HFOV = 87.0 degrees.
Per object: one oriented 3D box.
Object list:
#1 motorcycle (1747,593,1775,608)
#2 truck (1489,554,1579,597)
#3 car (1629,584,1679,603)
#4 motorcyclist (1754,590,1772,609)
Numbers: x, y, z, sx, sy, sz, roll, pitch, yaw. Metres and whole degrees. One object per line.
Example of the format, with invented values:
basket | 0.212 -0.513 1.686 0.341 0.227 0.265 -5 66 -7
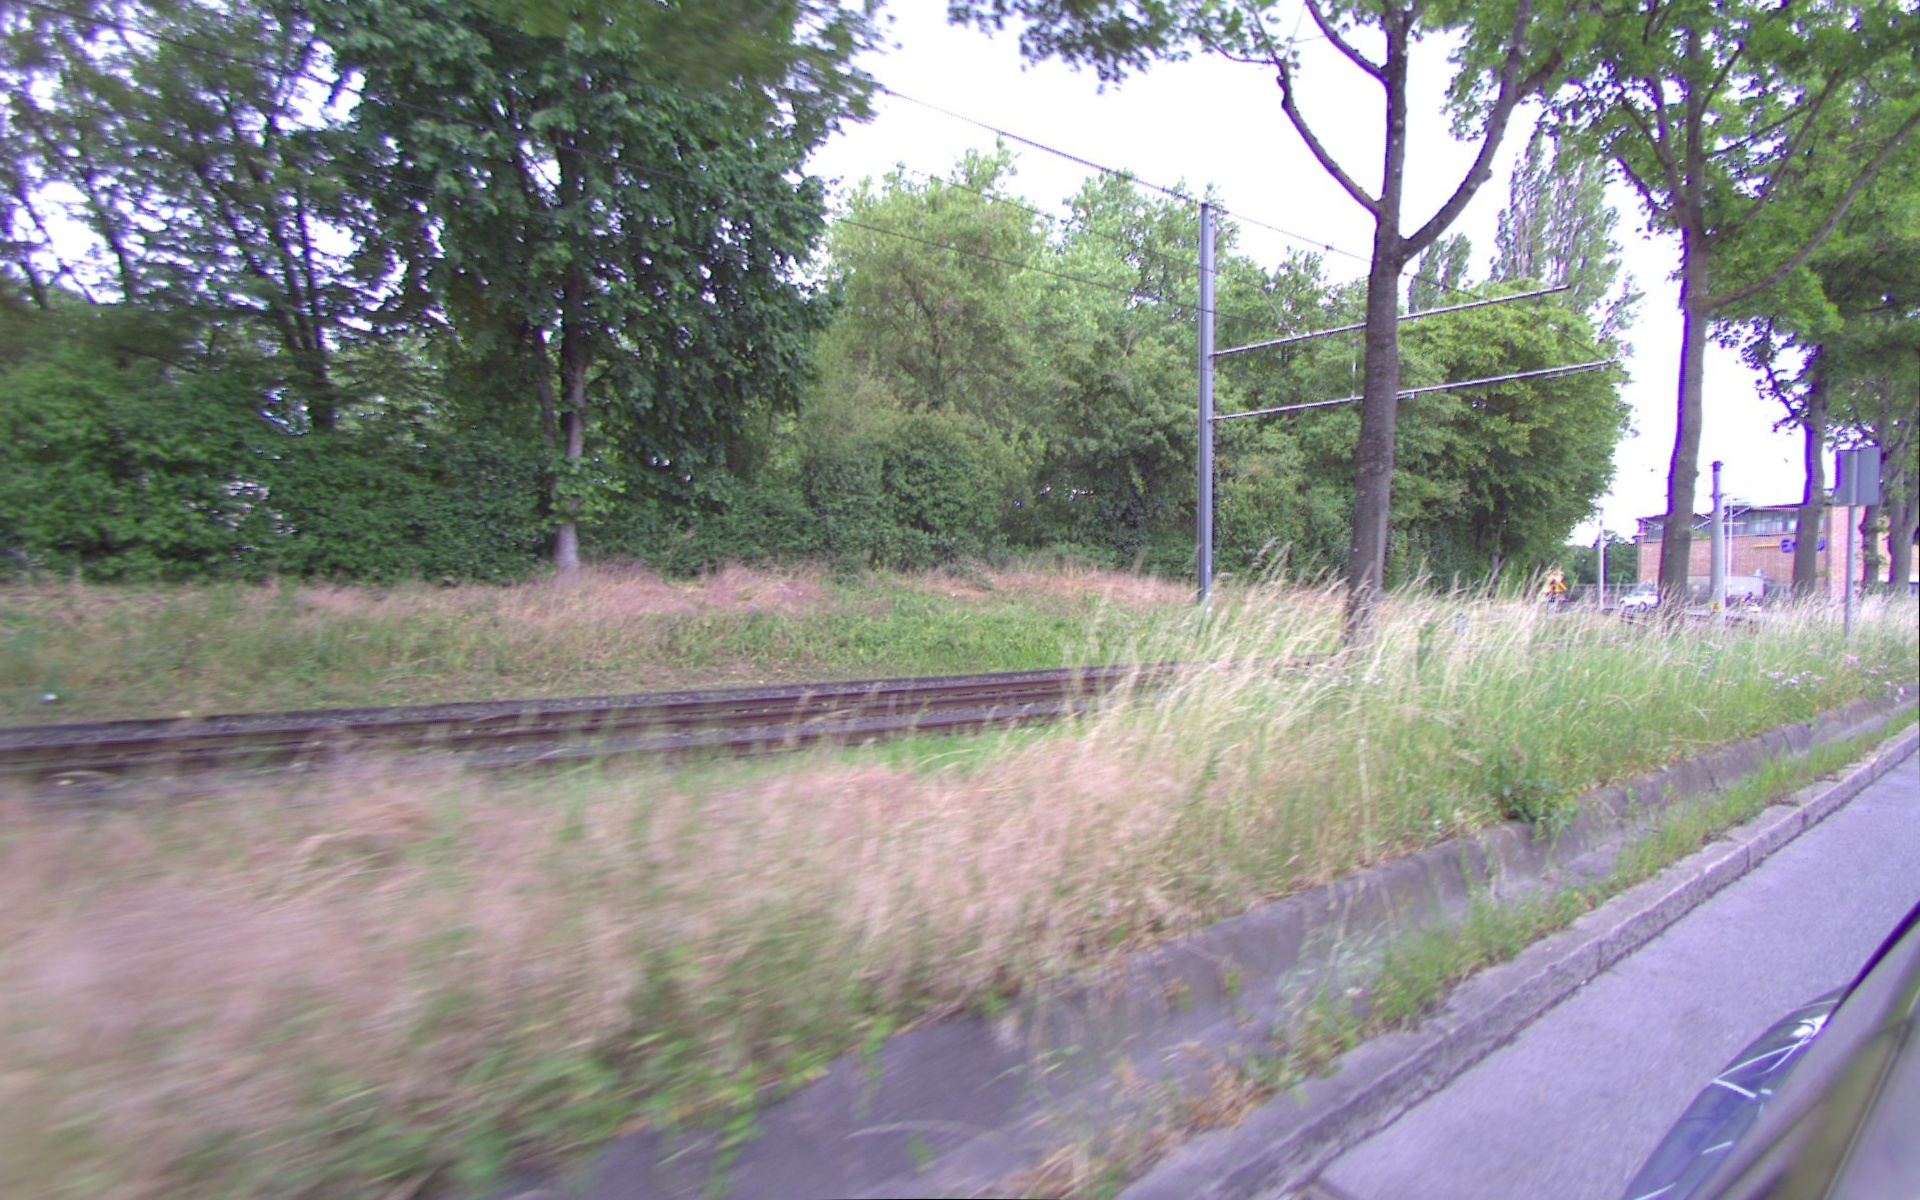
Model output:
motorcycle | 58.264 0.055 73.636 0.672 1.074 1.719 0 0 1
truck | 58.717 -2.408 103.945 2.624 3.988 10.145 -2 -1 -4
car | 59.182 -0.546 86.416 1.719 1.506 3.653 -1 0 0
motorcyclist | 58.244 -0.034 73.391 0.609 1.373 0.840 0 0 1
